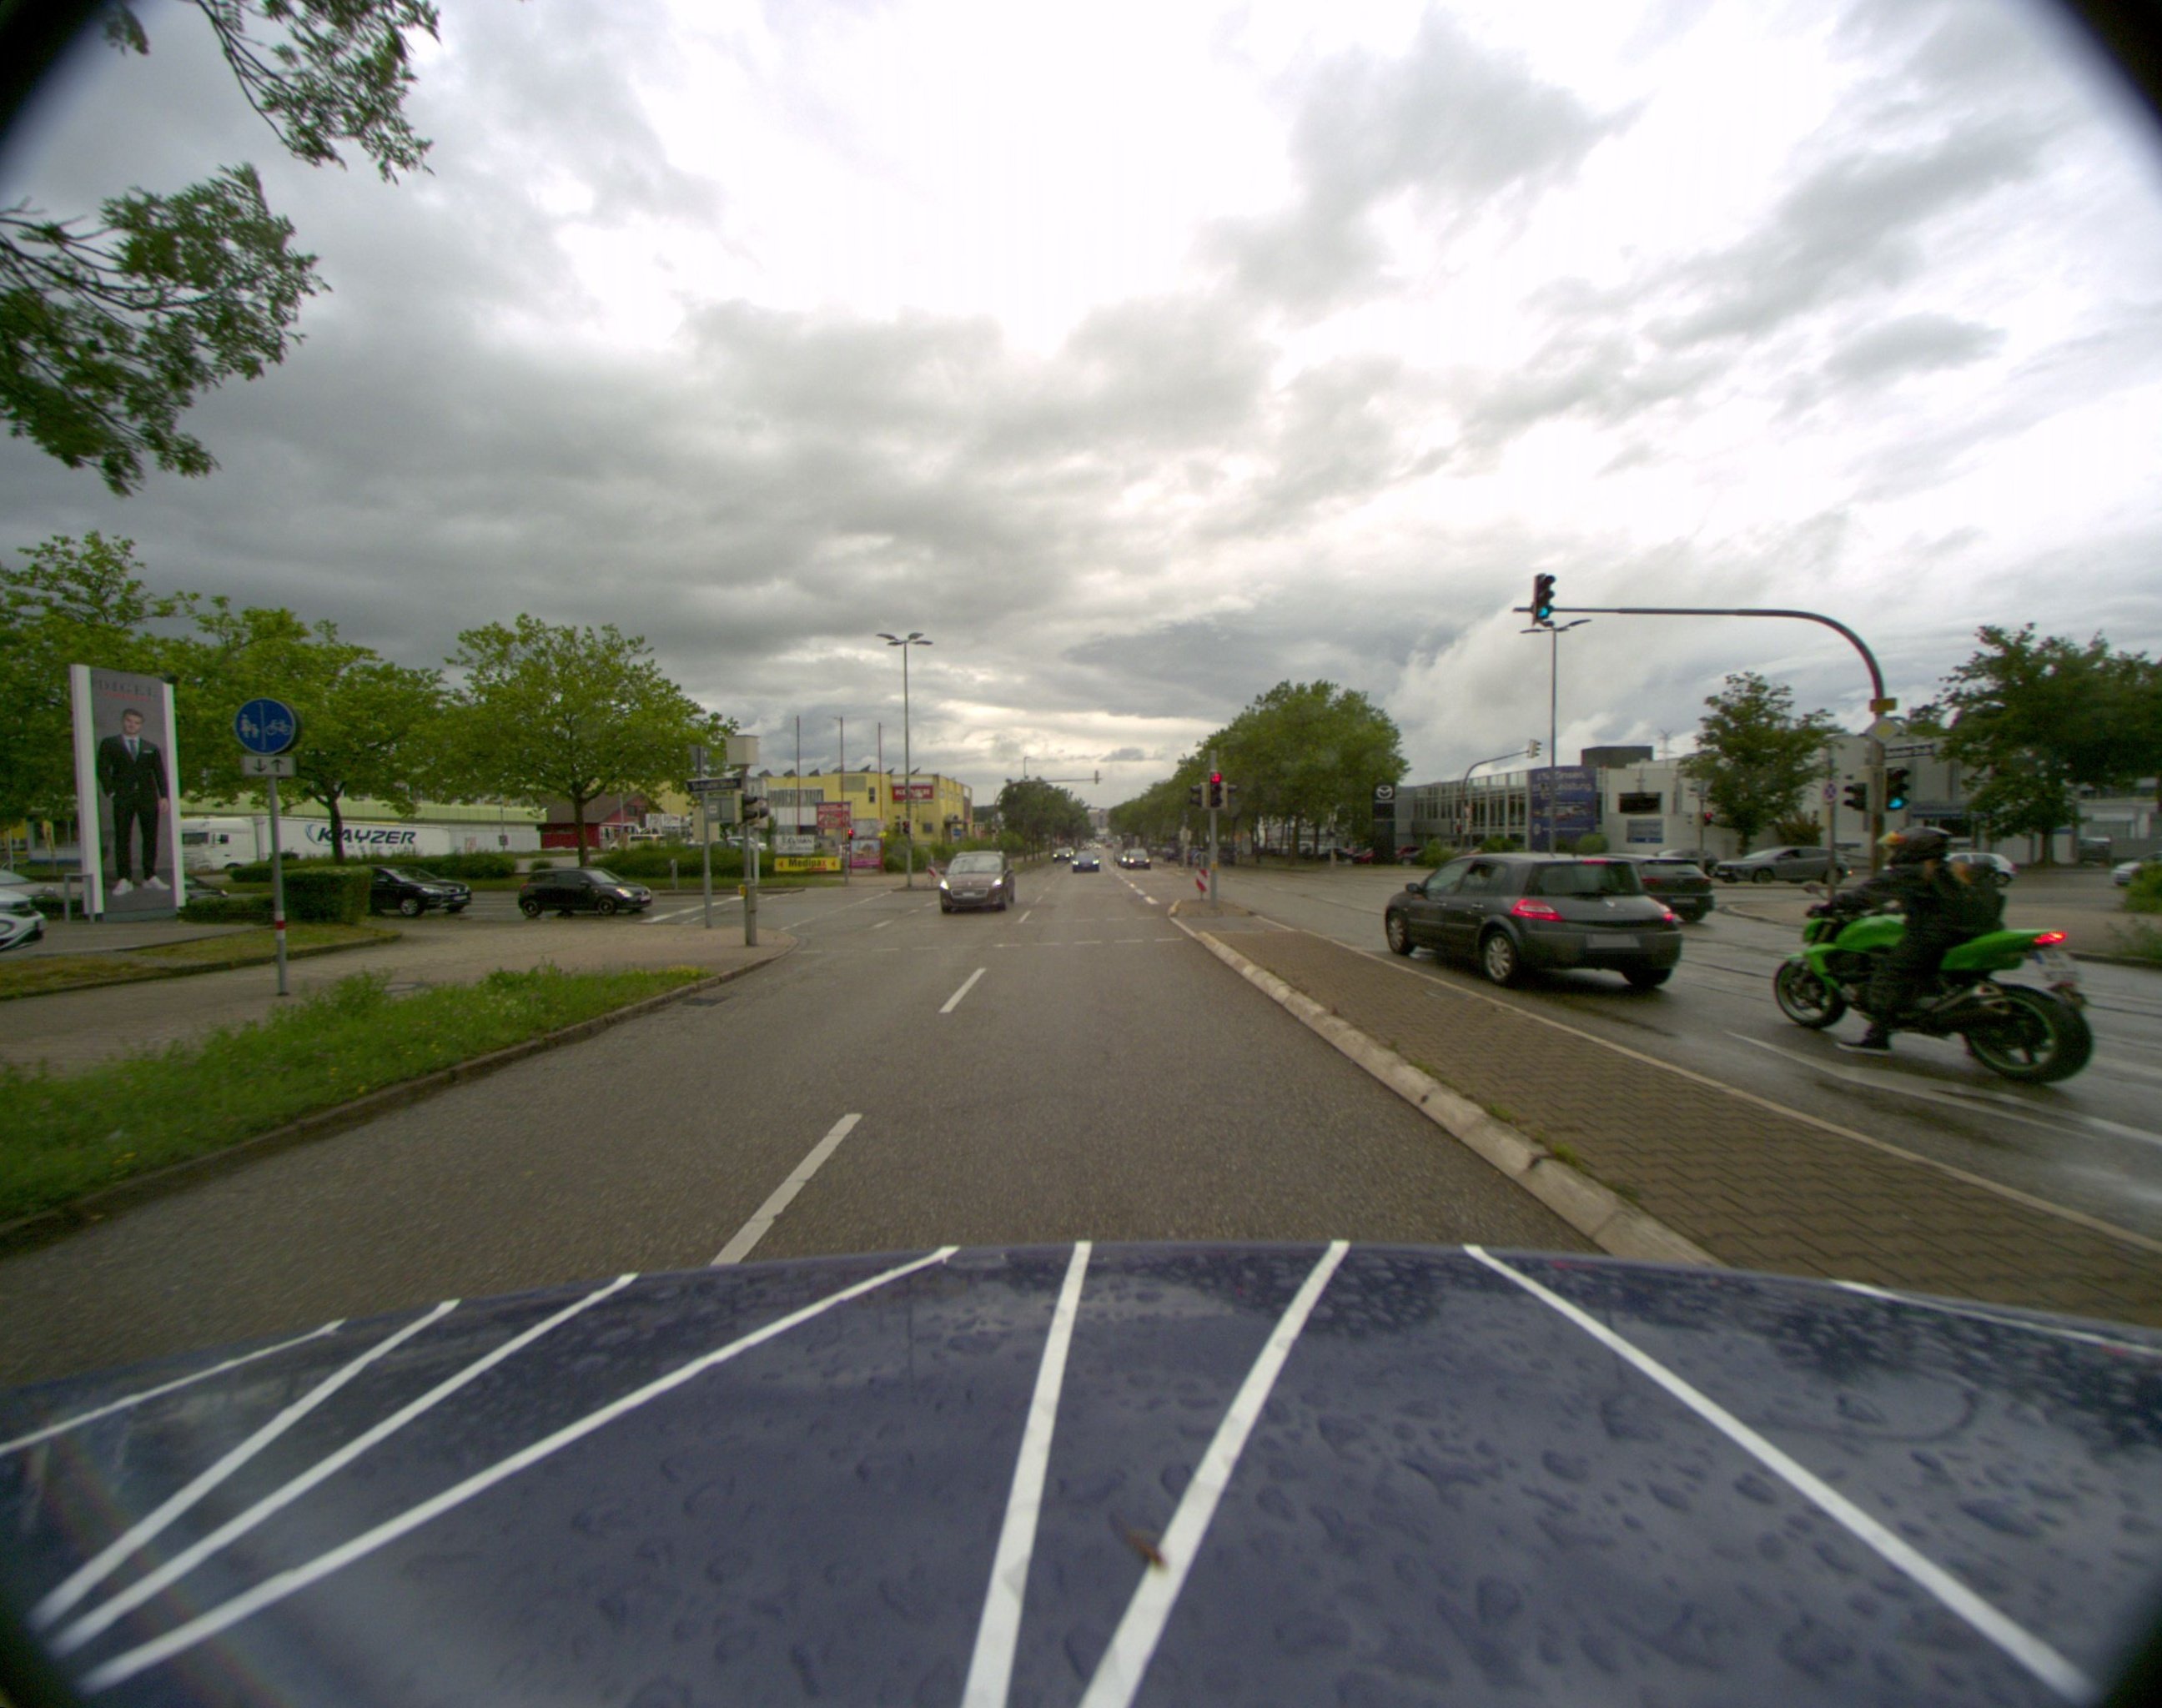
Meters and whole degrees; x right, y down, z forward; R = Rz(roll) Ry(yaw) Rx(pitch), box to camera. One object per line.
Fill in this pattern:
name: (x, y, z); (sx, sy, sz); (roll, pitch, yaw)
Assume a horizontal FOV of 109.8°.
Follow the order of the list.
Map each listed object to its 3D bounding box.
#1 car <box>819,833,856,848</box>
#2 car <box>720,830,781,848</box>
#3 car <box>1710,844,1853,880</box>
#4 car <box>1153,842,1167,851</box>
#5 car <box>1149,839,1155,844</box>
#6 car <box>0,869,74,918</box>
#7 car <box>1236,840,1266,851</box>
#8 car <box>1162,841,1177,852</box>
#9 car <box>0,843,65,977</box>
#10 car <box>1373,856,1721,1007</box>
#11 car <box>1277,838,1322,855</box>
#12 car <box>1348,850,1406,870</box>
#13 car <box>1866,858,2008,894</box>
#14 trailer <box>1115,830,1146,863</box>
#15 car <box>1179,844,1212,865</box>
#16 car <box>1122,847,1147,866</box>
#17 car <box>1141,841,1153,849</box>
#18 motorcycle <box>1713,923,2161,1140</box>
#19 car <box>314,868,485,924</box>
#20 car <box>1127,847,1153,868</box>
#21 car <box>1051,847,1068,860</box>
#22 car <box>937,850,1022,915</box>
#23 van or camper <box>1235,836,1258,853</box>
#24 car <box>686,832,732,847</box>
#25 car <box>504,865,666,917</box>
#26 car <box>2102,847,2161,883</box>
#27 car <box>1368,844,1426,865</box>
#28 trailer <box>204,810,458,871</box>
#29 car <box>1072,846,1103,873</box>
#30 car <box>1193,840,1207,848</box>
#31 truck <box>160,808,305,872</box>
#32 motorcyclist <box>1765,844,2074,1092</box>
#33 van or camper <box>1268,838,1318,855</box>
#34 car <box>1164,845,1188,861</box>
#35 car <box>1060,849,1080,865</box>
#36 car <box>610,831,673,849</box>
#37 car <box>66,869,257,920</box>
car: (-30.659, -1.715, 95.814); (3.997, 1.769, 2.000); (0, 1, 0)
car: (-32.746, -1.498, 75.496); (4.981, 1.769, 2.380); (0, 1, 0)
car: (29.488, 0.326, 32.093); (4.157, 1.480, 1.879); (0, 1, 5)
car: (12.001, -1.143, 115.646); (1.715, 1.375, 4.173); (2, 1, -1)
car: (23.901, -4.278, 256.904); (1.745, 1.525, 3.999); (2, 2, 3)
car: (-35.613, 1.247, 24.458); (3.989, 1.440, 1.817); (0, 2, 1)
car: (31.163, -1.520, 139.259); (5.058, 2.002, 2.129); (-1, 1, 0)
car: (11.959, -0.996, 102.890); (1.646, 1.354, 4.001); (0, -1, 2)
car: (-14.675, 0.679, 8.160); (1.926, 1.567, 4.297); (1, 1, 43)
car: (5.235, 0.745, 9.278); (1.687, 1.369, 3.998); (0, 1, -2)
car: (24.248, -0.815, 84.241); (4.472, 1.805, 1.996); (-1, 1, -21)
car: (25.791, 0.515, 66.216); (4.573, 1.587, 1.996); (-2, 2, -21)
car: (35.428, 0.900, 31.528); (3.696, 1.391, 1.879); (0, 1, 1)
trailer: (4.395, -0.699, 67.991); (2.378, 2.880, 5.544); (0, 1, 0)
car: (9.186, 0.009, 61.278); (1.916, 1.599, 4.361); (0, 1, -2)
car: (4.294, 0.148, 61.649); (1.770, 1.450, 4.780); (0, 1, 1)
car: (11.971, -1.681, 138.257); (1.714, 1.456, 4.084); (0, 1, 0)
motorcycle: (5.867, 1.094, 5.375); (0.809, 0.970, 2.322); (1, 1, -1)
car: (-22.099, 1.348, 24.718); (4.149, 1.539, 1.738); (-2, 2, 6)
car: (4.288, 0.211, 55.732); (1.717, 1.481, 4.077); (0, 1, 1)
car: (-2.790, -0.064, 99.363); (1.998, 1.632, 4.360); (-1, 1, 1)
car: (-2.829, 0.730, 22.128); (1.730, 1.615, 4.470); (-1, 1, 2)
van or camper: (23.988, -1.401, 110.369); (1.998, 2.456, 6.400); (-2, 1, 2)
car: (-43.811, -1.704, 89.452); (4.381, 1.729, 2.000); (0, 1, 0)
car: (-15.835, 1.158, 24.402); (3.989, 1.481, 1.817); (0, 2, 1)
car: (43.801, 0.412, 30.913); (3.389, 1.391, 1.501); (-1, 1, -14)
car: (26.151, 0.034, 62.902); (4.237, 1.644, 2.008); (0, 2, -22)
trailer: (-52.863, -0.817, 54.812); (3.159, 3.694, 14.814); (-2, 0, 2)
car: (0.517, 0.332, 53.344); (1.998, 1.633, 4.359); (-2, 2, 2)
car: (24.289, -2.054, 155.445); (2.123, 1.487, 5.245); (0, 1, 1)
truck: (-53.098, -0.814, 47.763); (3.159, 3.694, 5.137); (-2, 0, 2)
motorcyclist: (5.858, 0.716, 5.427); (0.809, 1.550, 1.267); (-1, 1, -1)
van or camper: (24.497, -0.874, 87.741); (5.381, 1.761, 2.100); (-1, 5, -21)
car: (9.610, -0.159, 76.997); (1.715, 1.571, 3.998); (0, 1, -2)
car: (-1.228, 0.345, 86.461); (1.998, 1.633, 4.359); (-2, 2, 2)
car: (-44.980, -1.459, 77.826); (4.981, 1.769, 2.380); (0, 1, 0)
car: (-29.657, 1.270, 24.596); (3.989, 1.481, 1.817); (0, 2, 1)
